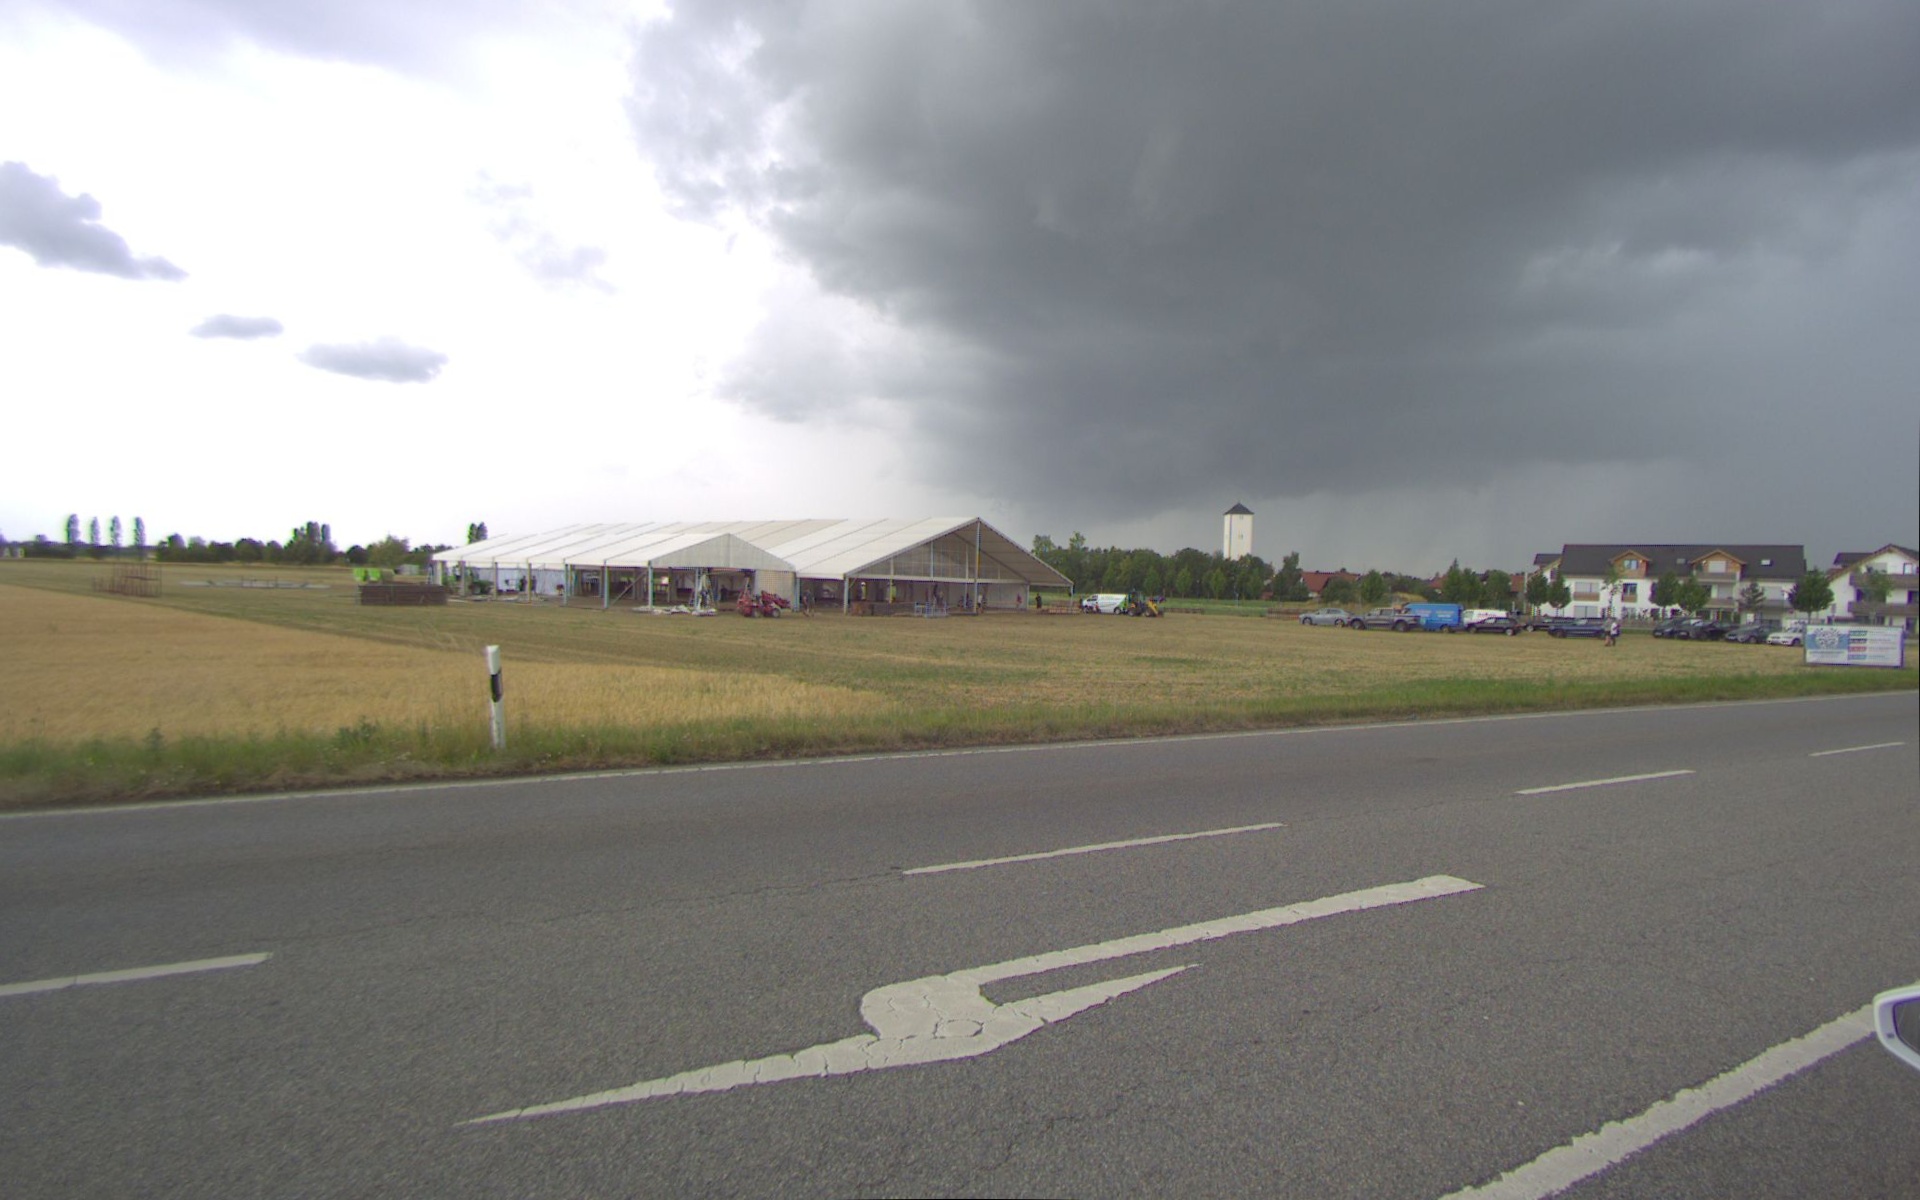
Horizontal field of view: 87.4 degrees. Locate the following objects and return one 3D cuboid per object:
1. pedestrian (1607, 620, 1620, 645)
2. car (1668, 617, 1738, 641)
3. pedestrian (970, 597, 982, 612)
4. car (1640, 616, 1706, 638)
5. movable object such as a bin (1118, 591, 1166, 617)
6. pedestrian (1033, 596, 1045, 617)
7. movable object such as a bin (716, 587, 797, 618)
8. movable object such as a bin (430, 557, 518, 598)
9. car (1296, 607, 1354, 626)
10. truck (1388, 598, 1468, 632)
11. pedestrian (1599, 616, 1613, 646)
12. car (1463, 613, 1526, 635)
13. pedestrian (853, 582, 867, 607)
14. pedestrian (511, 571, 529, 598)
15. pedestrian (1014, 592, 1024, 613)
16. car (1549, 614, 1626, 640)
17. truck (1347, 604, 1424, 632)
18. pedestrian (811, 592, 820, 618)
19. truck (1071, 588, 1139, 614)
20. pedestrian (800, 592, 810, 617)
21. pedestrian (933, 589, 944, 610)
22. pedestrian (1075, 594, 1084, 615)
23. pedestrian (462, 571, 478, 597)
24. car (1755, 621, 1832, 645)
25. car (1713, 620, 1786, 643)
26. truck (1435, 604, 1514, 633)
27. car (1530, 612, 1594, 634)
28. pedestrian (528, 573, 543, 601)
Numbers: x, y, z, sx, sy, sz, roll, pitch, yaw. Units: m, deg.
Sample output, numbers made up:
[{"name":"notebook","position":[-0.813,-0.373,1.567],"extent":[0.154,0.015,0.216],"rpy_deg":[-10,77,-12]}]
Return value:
[{"name":"pedestrian","position":[41.292,2.056,63.494],"extent":[0.582,1.576,0.623],"rpy_deg":[2,1,41]},{"name":"car","position":[56.025,2.156,75.740],"extent":[4.138,1.651,1.995],"rpy_deg":[2,0,-12]},{"name":"pedestrian","position":[1.379,0.363,85.311],"extent":[0.689,1.288,0.682],"rpy_deg":[1,1,-41]},{"name":"car","position":[56.471,2.128,79.596],"extent":[4.138,1.651,1.995],"rpy_deg":[2,0,-12]},{"name":"movable object such as a bin","position":[16.634,0.353,91.804],"extent":[3.928,2.273,1.881],"rpy_deg":[2,1,32]},{"name":"pedestrian","position":[6.858,0.524,87.183],"extent":[0.681,1.799,0.691],"rpy_deg":[2,1,-24]},{"name":"movable object such as a bin","position":[-12.868,0.174,63.674],"extent":[2.555,1.889,4.457],"rpy_deg":[2,0,37]},{"name":"movable object such as a bin","position":[-42.467,-2.016,87.670],"extent":[7.466,3.220,4.140],"rpy_deg":[3,1,40]},{"name":"car","position":[30.854,1.396,84.940],"extent":[4.236,1.481,1.886],"rpy_deg":[2,0,34]},{"name":"truck","position":[37.138,1.159,79.797],"extent":[5.379,2.478,2.385],"rpy_deg":[2,1,37]},{"name":"pedestrian","position":[40.529,1.939,63.052],"extent":[0.673,1.809,0.543],"rpy_deg":[1,1,-42]},{"name":"car","position":[42.403,1.877,79.702],"extent":[4.105,1.539,1.991],"rpy_deg":[2,0,40]},{"name":"pedestrian","position":[-8.496,-0.459,85.141],"extent":[0.869,2.040,0.760],"rpy_deg":[1,1,-35]},{"name":"pedestrian","position":[-33.665,-1.165,76.824],"extent":[1.006,2.040,0.806],"rpy_deg":[2,1,-7]},{"name":"pedestrian","position":[5.234,0.228,88.691],"extent":[0.683,1.799,0.689],"rpy_deg":[2,1,-13]},{"name":"car","position":[47.314,2.002,75.755],"extent":[4.659,1.720,1.991],"rpy_deg":[2,0,40]},{"name":"truck","position":[33.128,1.371,78.263],"extent":[5.155,1.946,2.106],"rpy_deg":[2,0,34]},{"name":"pedestrian","position":[-9.435,0.335,65.511],"extent":[0.542,1.649,0.546],"rpy_deg":[2,0,-10]},{"name":"truck","position":[14.105,0.088,97.929],"extent":[5.960,2.246,2.713],"rpy_deg":[2,0,33]},{"name":"pedestrian","position":[-10.268,0.291,66.462],"extent":[0.573,1.649,0.470],"rpy_deg":[2,0,-8]},{"name":"pedestrian","position":[-1.839,-0.028,86.262],"extent":[0.689,1.799,0.682],"rpy_deg":[1,1,-41]},{"name":"pedestrian","position":[10.888,0.373,91.247],"extent":[0.694,1.890,0.626],"rpy_deg":[2,1,11]},{"name":"pedestrian","position":[-39.309,-1.261,80.533],"extent":[1.010,2.040,0.803],"rpy_deg":[2,1,41]},{"name":"car","position":[58.179,2.305,70.158],"extent":[4.138,1.465,1.995],"rpy_deg":[2,0,-12]},{"name":"car","position":[57.179,2.284,72.767],"extent":[4.138,1.556,1.995],"rpy_deg":[2,0,-12]},{"name":"truck","position":[43.096,1.533,84.195],"extent":[5.494,2.226,2.597],"rpy_deg":[2,0,37]},{"name":"car","position":[53.166,2.043,88.756],"extent":[4.570,1.720,1.991],"rpy_deg":[2,0,40]},{"name":"pedestrian","position":[-33.215,-1.026,78.625],"extent":[0.930,2.130,0.860],"rpy_deg":[1,1,-31]}]
